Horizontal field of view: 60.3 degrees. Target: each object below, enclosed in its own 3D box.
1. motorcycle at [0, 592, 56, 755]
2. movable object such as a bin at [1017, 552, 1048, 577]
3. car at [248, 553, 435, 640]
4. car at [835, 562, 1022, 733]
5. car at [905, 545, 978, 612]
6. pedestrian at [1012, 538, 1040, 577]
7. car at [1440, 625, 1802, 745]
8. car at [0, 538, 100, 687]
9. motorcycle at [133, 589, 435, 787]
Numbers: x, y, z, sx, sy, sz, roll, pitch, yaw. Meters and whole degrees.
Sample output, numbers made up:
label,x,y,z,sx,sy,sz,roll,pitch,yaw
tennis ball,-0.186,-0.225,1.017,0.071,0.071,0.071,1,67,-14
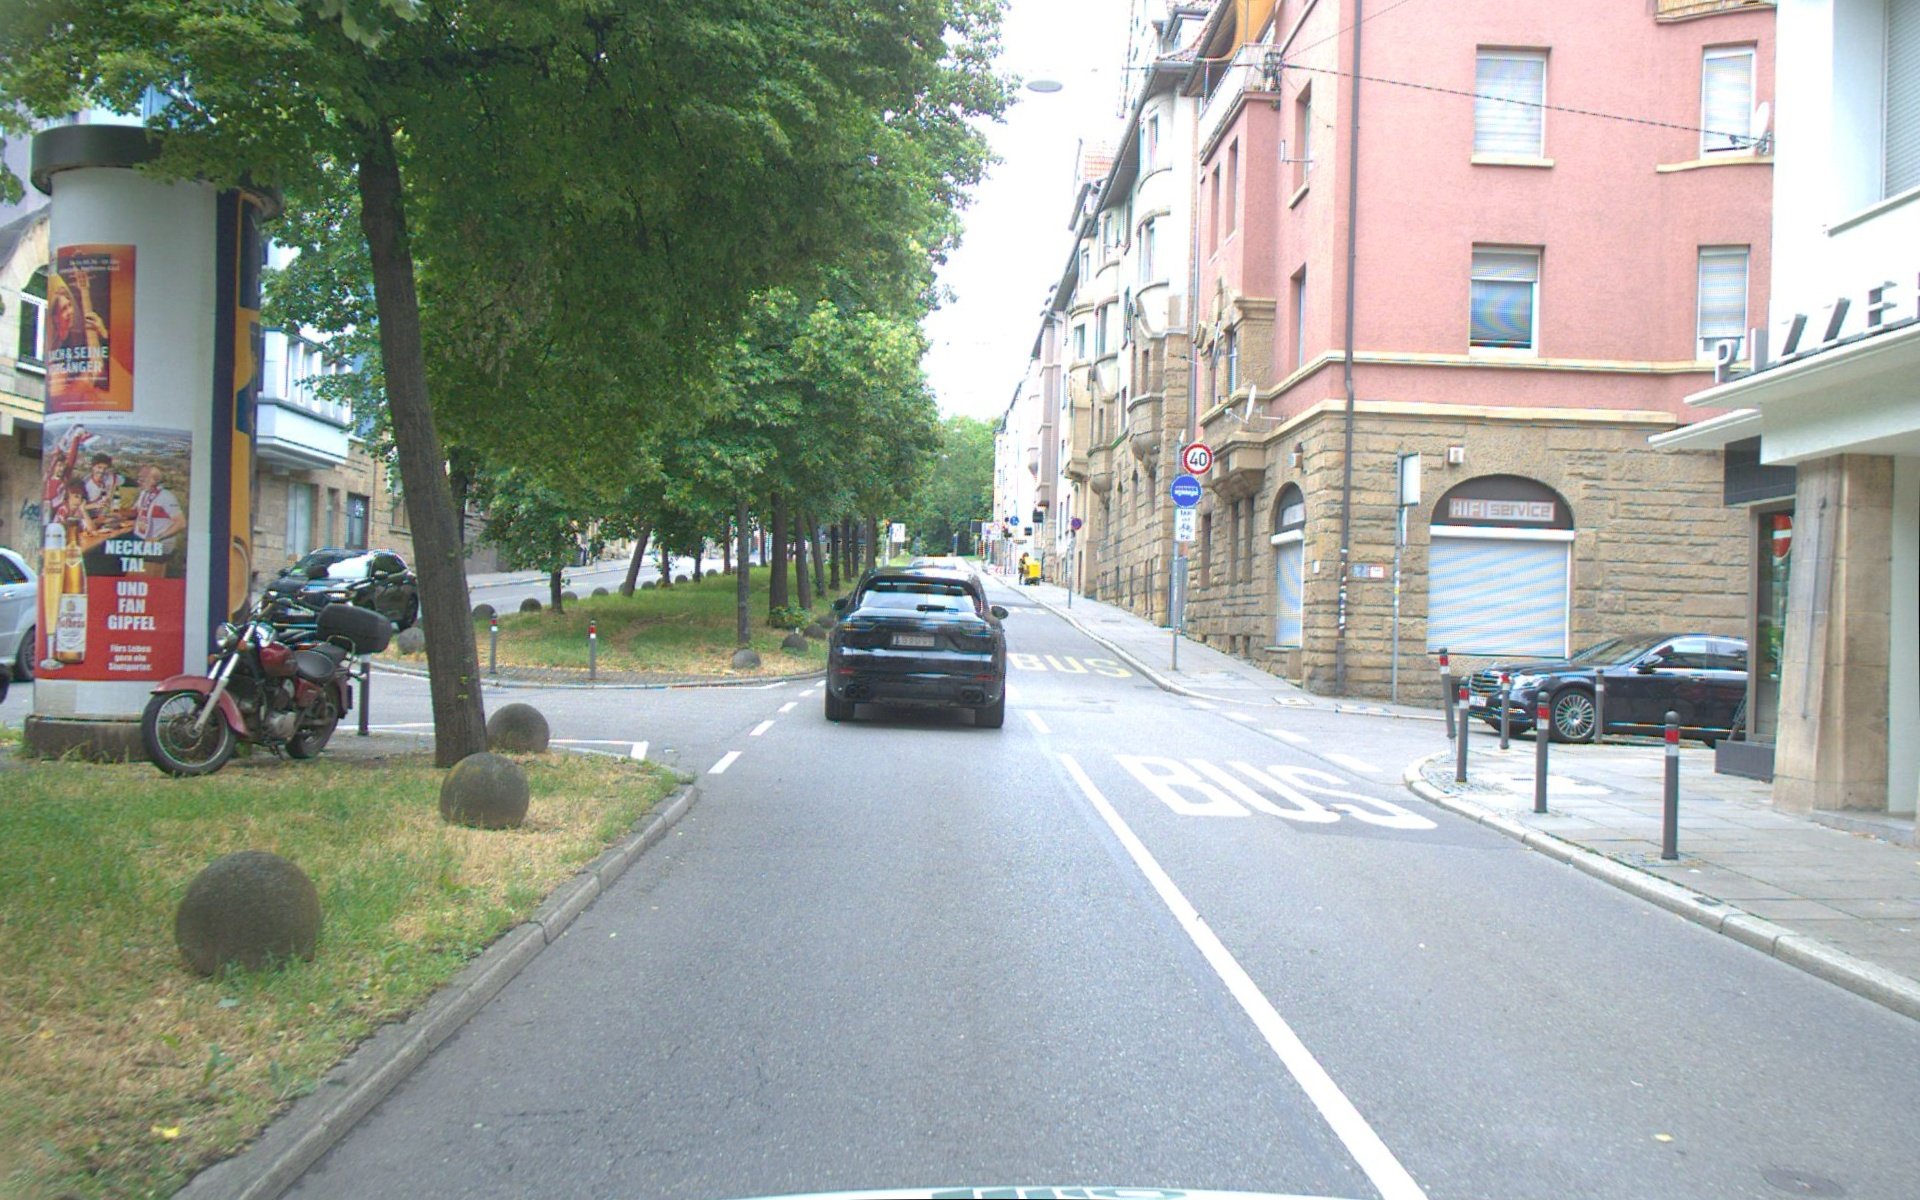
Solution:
label,x,y,z,sx,sy,sz,roll,pitch,yaw
motorcycle,-7.076,0.493,11.000,0.882,1.126,2.250,1,-1,-1
movable object such as a bin,3.789,-1.863,86.923,1.215,1.296,1.841,2,0,-11
car,-11.848,-0.101,32.049,1.953,1.509,4.531,1,1,-1
car,-0.410,0.461,18.946,1.865,1.695,4.133,2,1,-3
car,-0.523,-0.611,47.261,1.953,1.784,4.000,2,0,-1
pedestrian,3.521,-2.253,88.311,1.278,2.049,1.017,2,0,-11
car,8.514,1.075,21.505,3.911,1.400,1.997,1,1,-8
car,-11.623,0.115,18.085,1.953,1.652,4.815,1,1,-1
motorcycle,-4.462,0.524,11.189,1.041,1.168,2.448,1,1,-1
